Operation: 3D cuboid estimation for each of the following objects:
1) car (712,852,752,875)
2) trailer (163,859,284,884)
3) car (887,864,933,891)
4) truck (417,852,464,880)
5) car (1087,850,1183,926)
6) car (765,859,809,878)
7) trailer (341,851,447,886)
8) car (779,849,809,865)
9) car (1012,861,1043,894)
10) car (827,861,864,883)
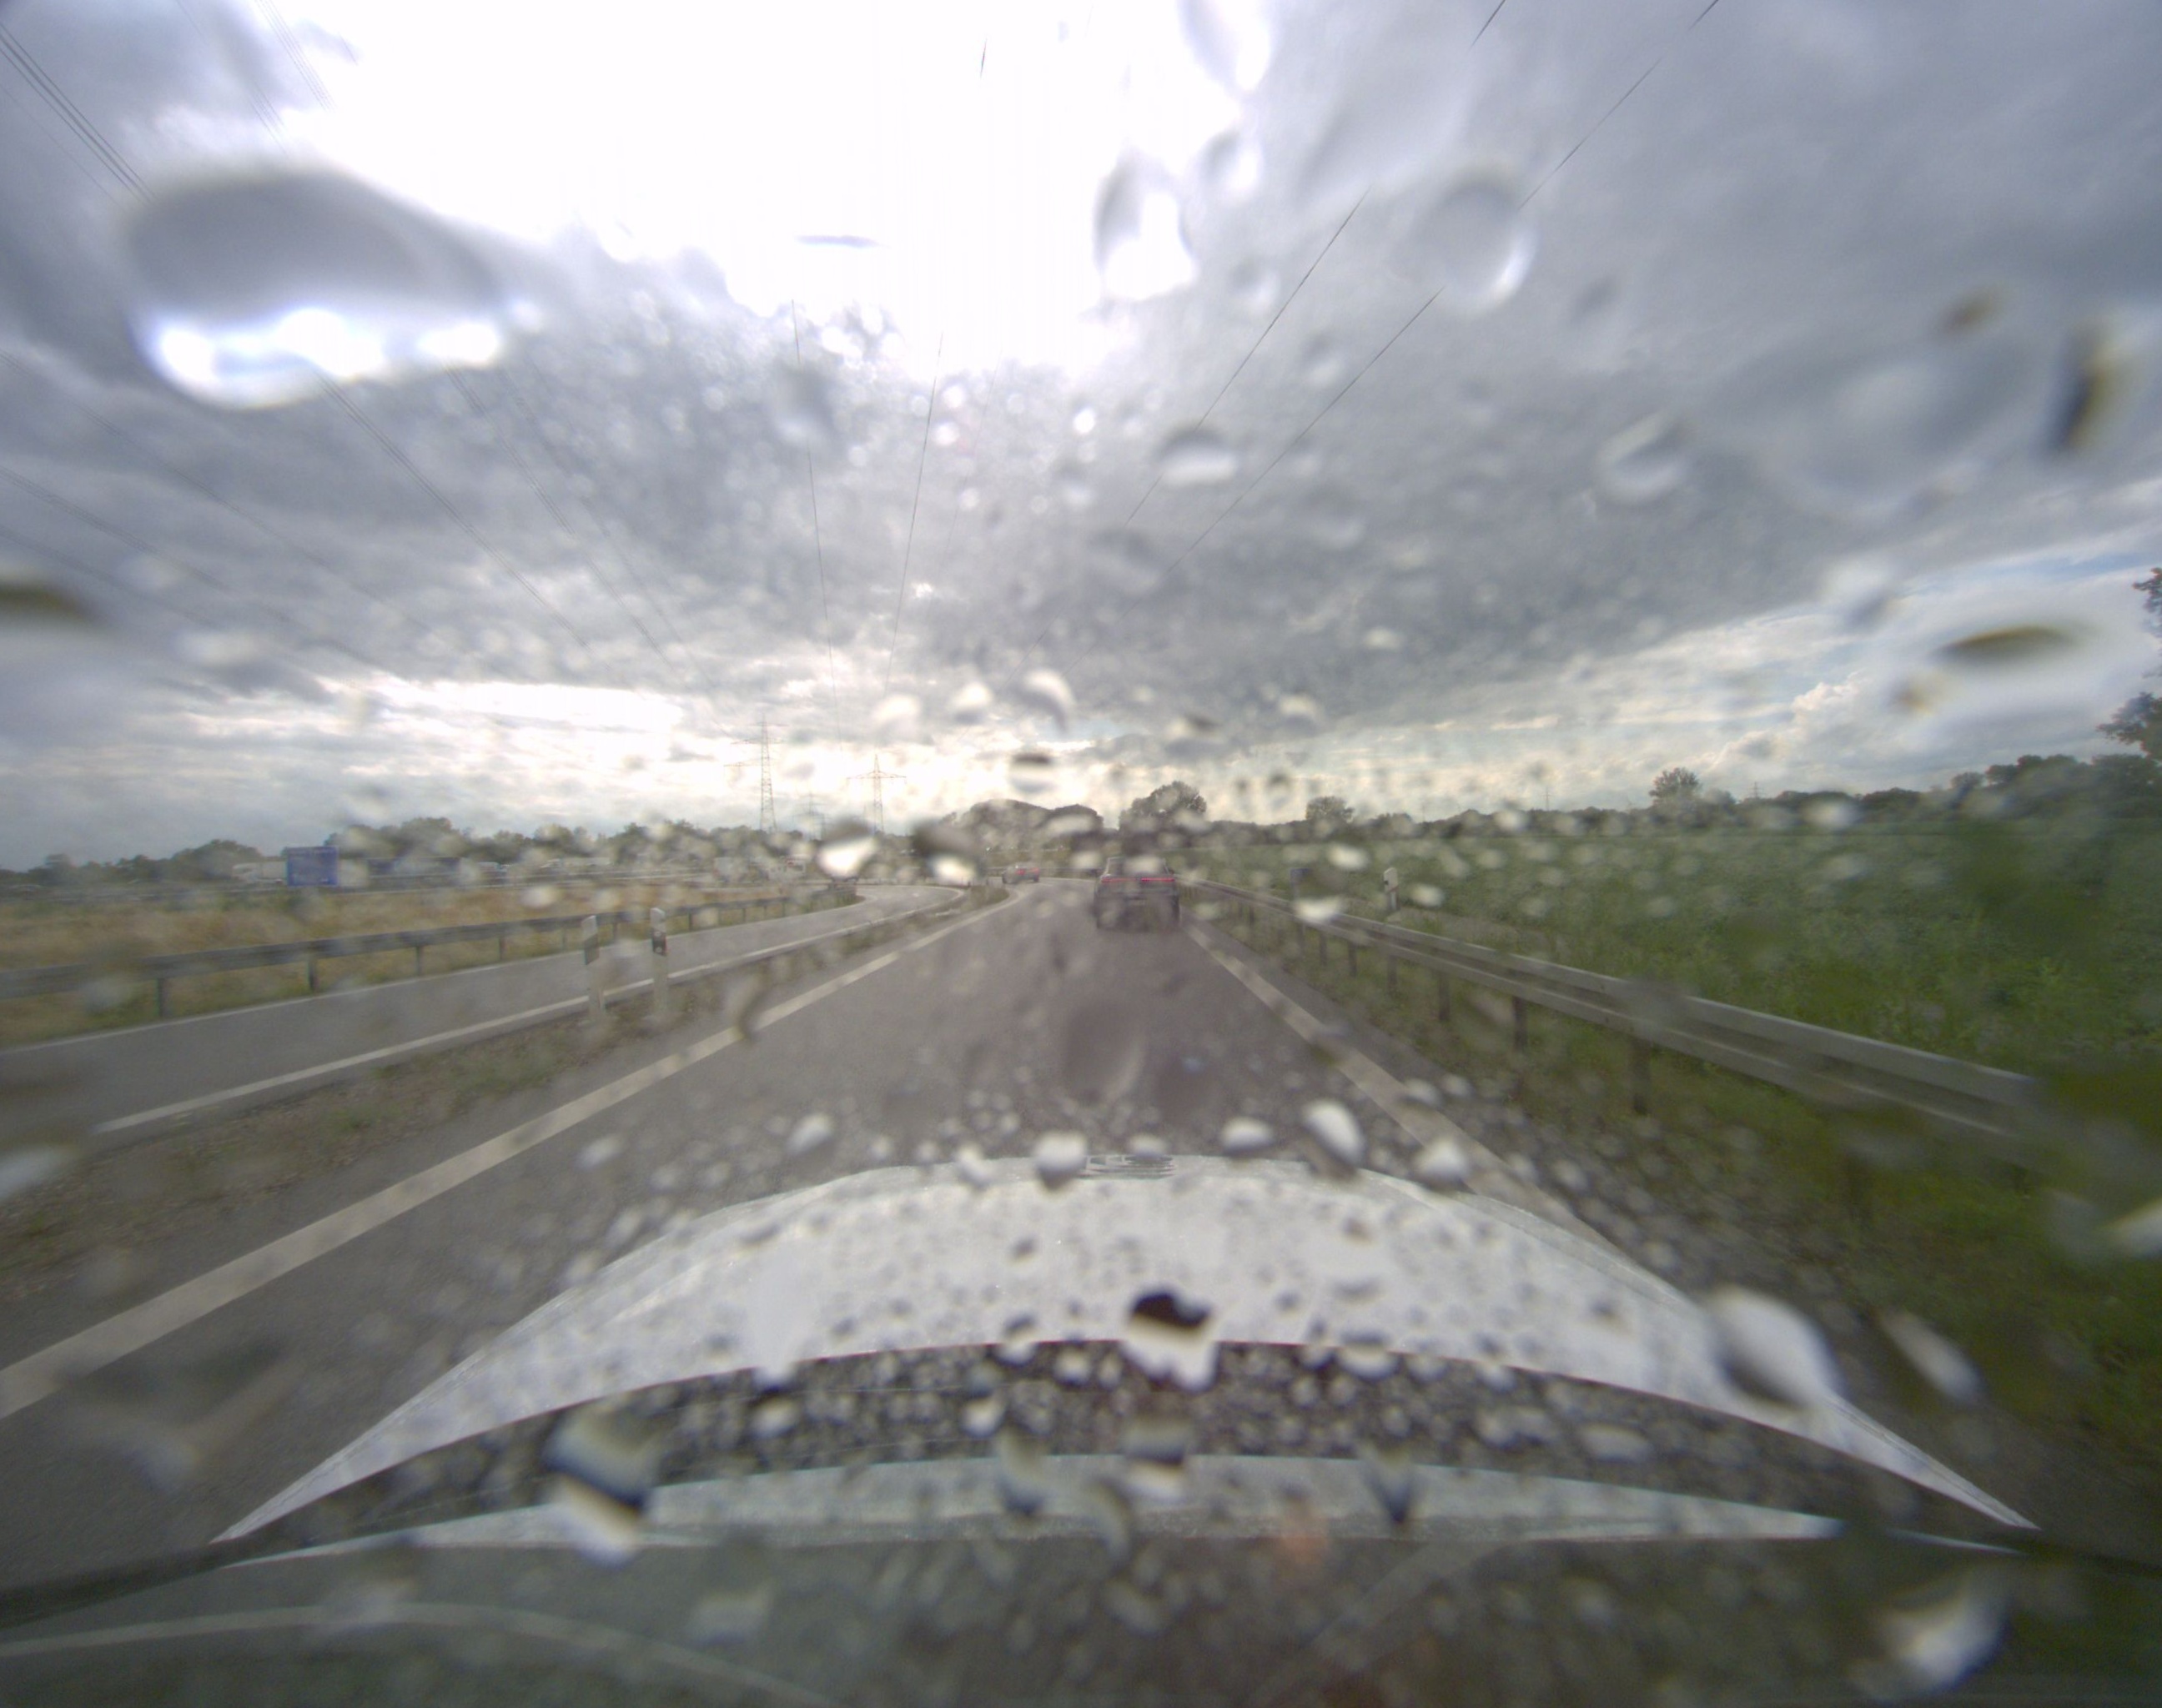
[{"bbox_3d":[-50.436,1.286,117.472,3.163,2.951,7.123,-4,3,-41],"label":"car"},{"bbox_3d":[-143.457,2.815,136.665,2.827,3.671,14.165,-1,0,17],"label":"trailer"},{"bbox_3d":[-17.077,2.290,81.096,2.371,2.306,5.070,-4,3,-38],"label":"car"},{"bbox_3d":[-108.434,1.984,137.921,3.043,4.478,5.098,-1,2,18],"label":"truck"},{"bbox_3d":[1.225,0.702,19.077,1.985,1.566,4.152,-1,0,3],"label":"car"},{"bbox_3d":[-36.838,1.795,101.927,5.062,2.306,2.374,-1,3,31],"label":"car"},{"bbox_3d":[-110.413,2.178,131.273,3.024,4.634,13.364,-1,2,17],"label":"trailer"},{"bbox_3d":[-69.468,0.770,197.255,3.369,3.610,9.053,-2,0,3],"label":"car"},{"bbox_3d":[-3.972,1.691,60.835,2.116,2.017,5.529,-2,2,-3],"label":"car"},{"bbox_3d":[-27.363,2.070,94.504,2.371,2.306,5.070,-4,3,-38],"label":"car"}]
